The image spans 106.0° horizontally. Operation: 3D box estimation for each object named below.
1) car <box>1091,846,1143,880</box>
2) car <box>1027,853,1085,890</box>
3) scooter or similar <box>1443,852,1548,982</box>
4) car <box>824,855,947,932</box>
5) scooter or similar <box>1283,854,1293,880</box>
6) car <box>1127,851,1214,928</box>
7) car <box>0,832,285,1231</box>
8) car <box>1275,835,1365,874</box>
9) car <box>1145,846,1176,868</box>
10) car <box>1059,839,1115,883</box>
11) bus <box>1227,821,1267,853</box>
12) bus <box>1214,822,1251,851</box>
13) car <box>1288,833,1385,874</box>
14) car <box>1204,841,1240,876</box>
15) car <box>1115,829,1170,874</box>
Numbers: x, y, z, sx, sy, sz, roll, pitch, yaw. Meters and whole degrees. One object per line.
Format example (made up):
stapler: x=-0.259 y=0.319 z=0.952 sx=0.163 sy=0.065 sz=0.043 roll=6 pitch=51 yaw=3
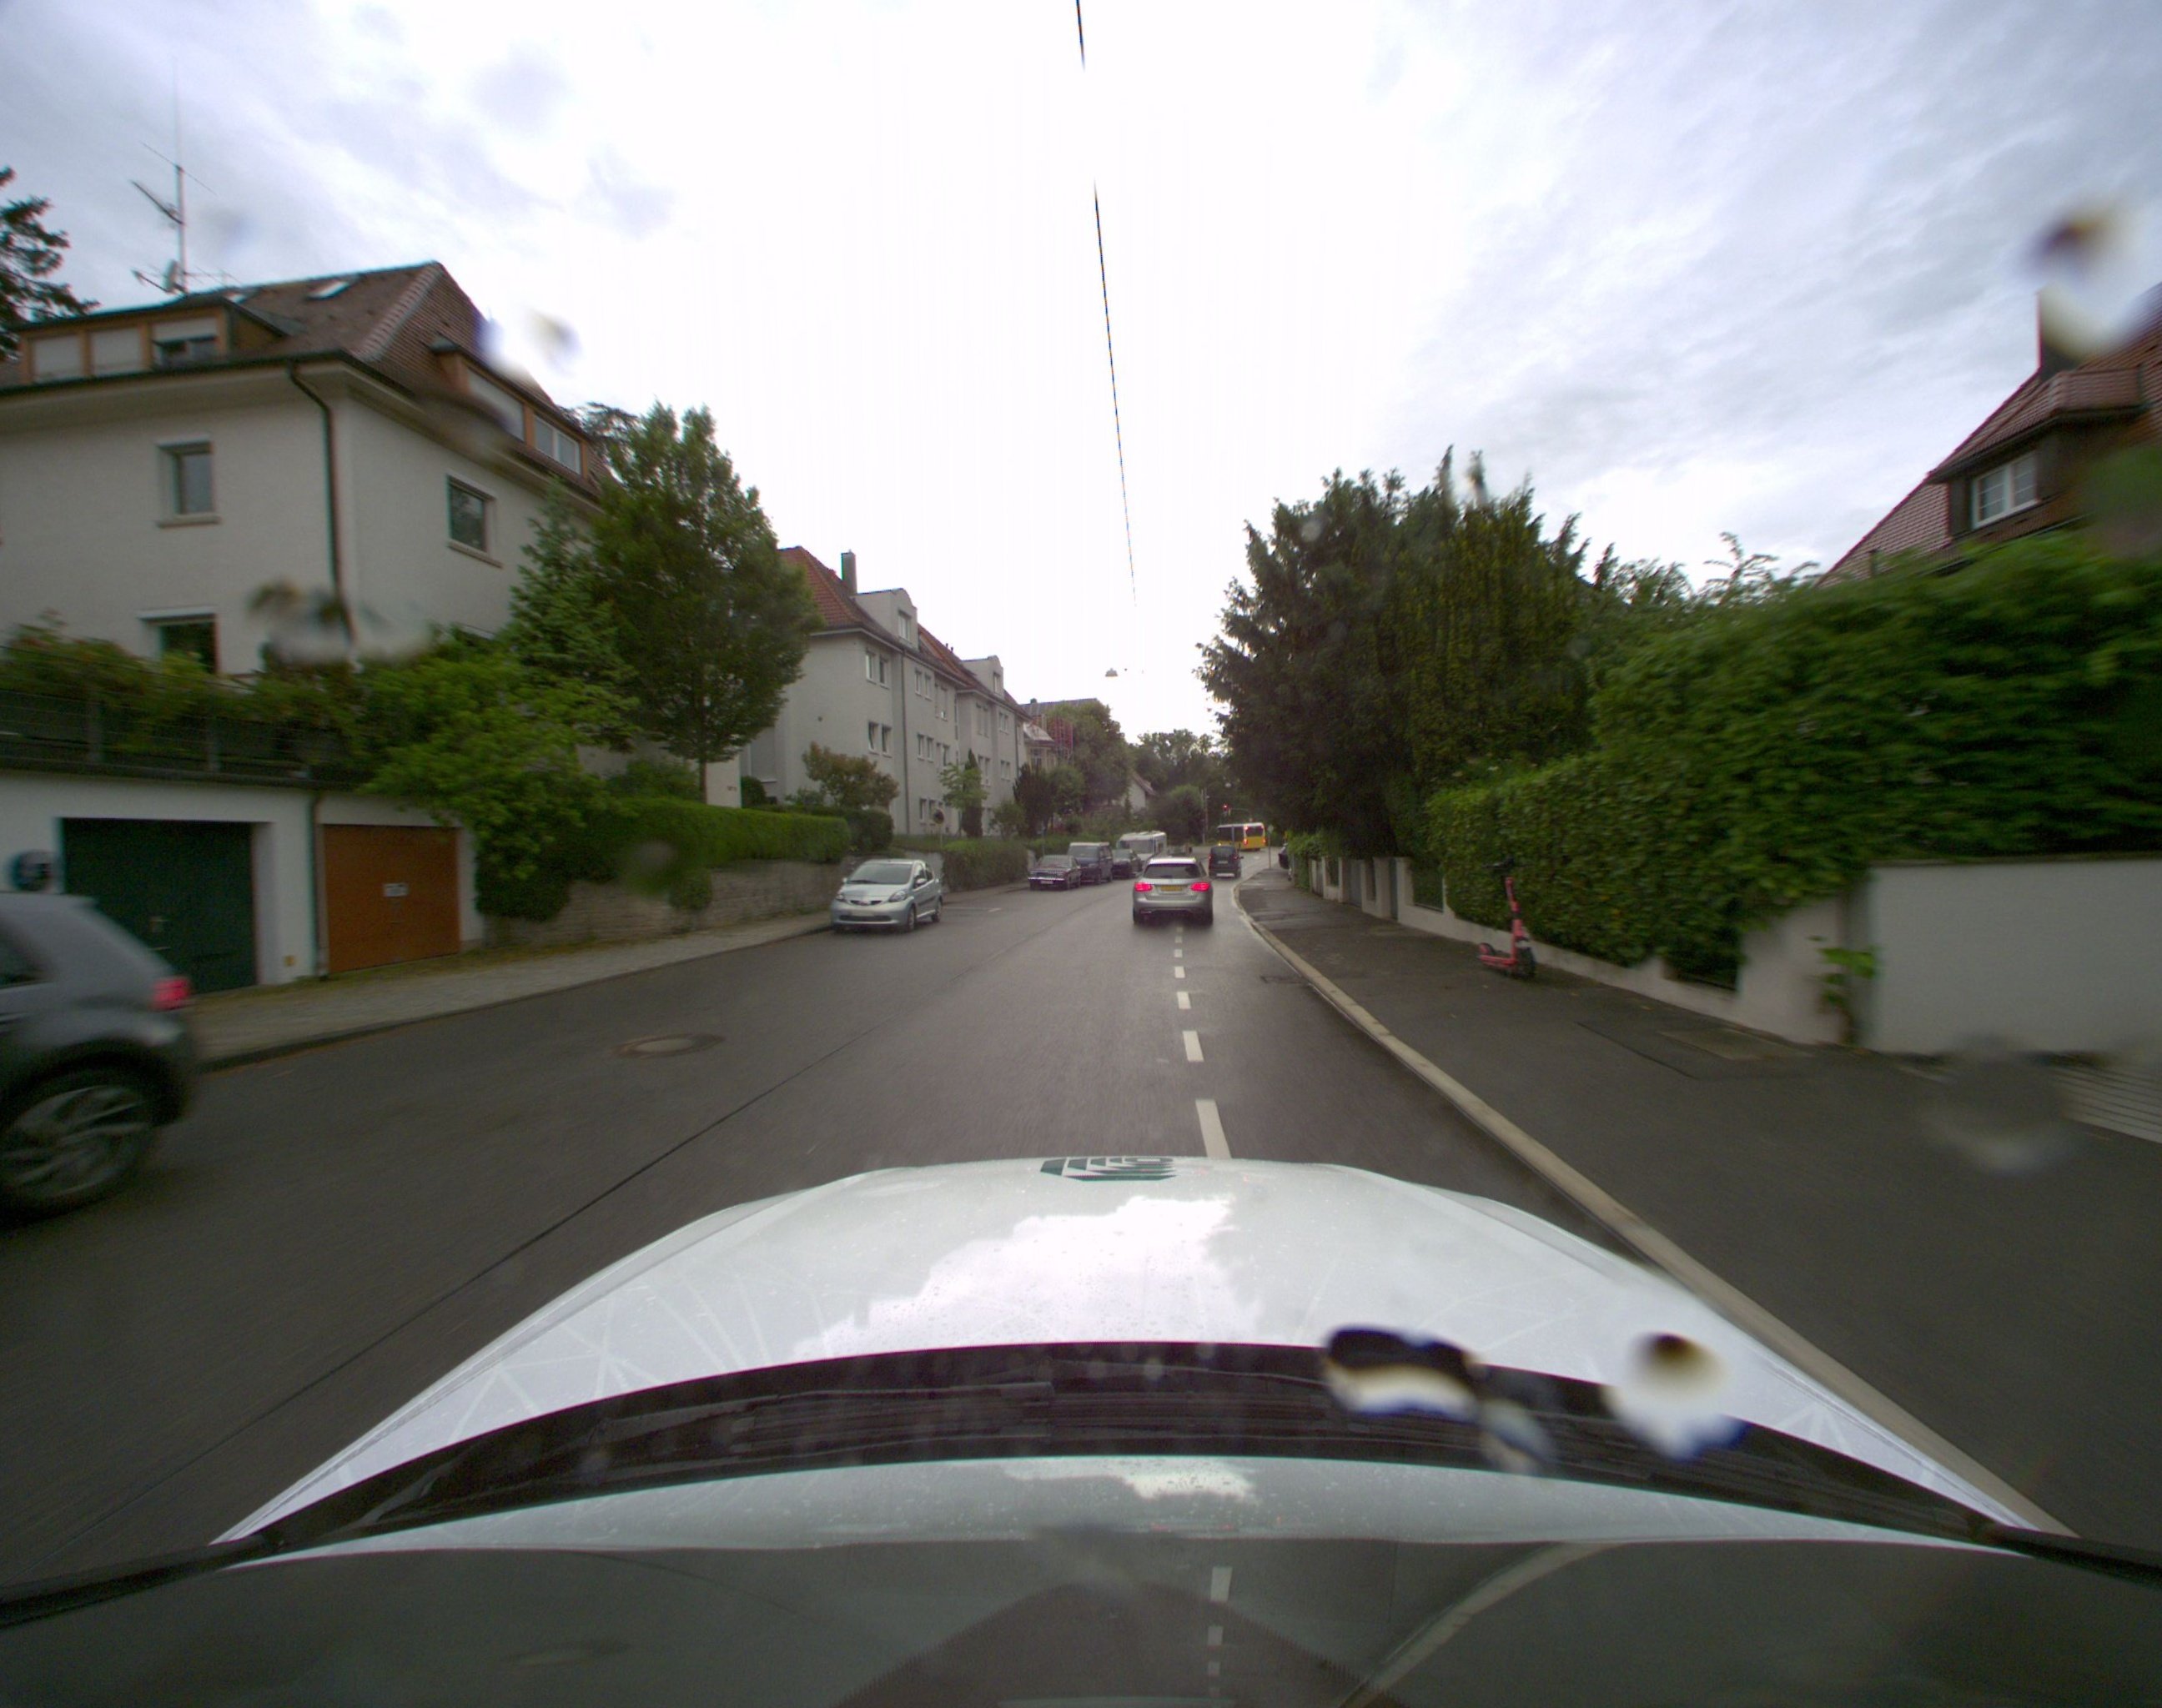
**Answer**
car: x=2.126 y=0.444 z=46.697 sx=1.978 sy=1.688 sz=4.697 roll=0 pitch=3 yaw=16
car: x=-0.999 y=0.690 z=35.043 sx=1.633 sy=1.417 sz=4.625 roll=0 pitch=1 yaw=10
scooter or similar: x=4.534 y=0.643 z=9.004 sx=0.447 sy=1.307 sz=1.483 roll=-2 pitch=-1 yaw=5
car: x=-4.093 y=0.774 z=17.558 sx=1.598 sy=1.486 sz=3.491 roll=0 pitch=0 yaw=4
scooter or similar: x=9.777 y=0.605 z=38.454 sx=0.453 sy=1.200 sz=1.873 roll=0 pitch=0 yaw=15
car: x=2.170 y=0.738 z=19.104 sx=1.806 sy=1.556 sz=4.010 roll=0 pitch=1 yaw=8
car: x=-5.257 y=0.711 z=2.311 sx=1.785 sy=1.580 sz=4.141 roll=2 pitch=1 yaw=2
car: x=13.422 y=0.019 z=46.026 sx=4.630 sy=1.874 sz=2.007 roll=-4 pitch=0 yaw=12
car: x=5.836 y=0.167 z=59.437 sx=1.700 sy=1.447 sz=3.269 roll=0 pitch=3 yaw=16
car: x=0.376 y=0.326 z=40.342 sx=1.817 sy=2.056 sz=5.027 roll=0 pitch=0 yaw=12
bus: x=20.664 y=-2.230 z=101.969 sx=2.919 sy=3.650 sz=10.167 roll=-1 pitch=2 yaw=0
bus: x=20.515 y=-2.479 z=110.727 sx=2.920 sy=3.650 sz=10.297 roll=-1 pitch=2 yaw=-2
car: x=13.325 y=-0.014 z=42.768 sx=4.630 sy=1.812 sz=2.007 roll=-4 pitch=0 yaw=12
car: x=8.078 y=0.255 z=46.304 sx=1.830 sy=1.904 sz=4.013 roll=0 pitch=0 yaw=12
car: x=4.169 y=-0.253 z=53.907 sx=2.373 sy=2.771 sz=6.559 roll=0 pitch=2 yaw=15
